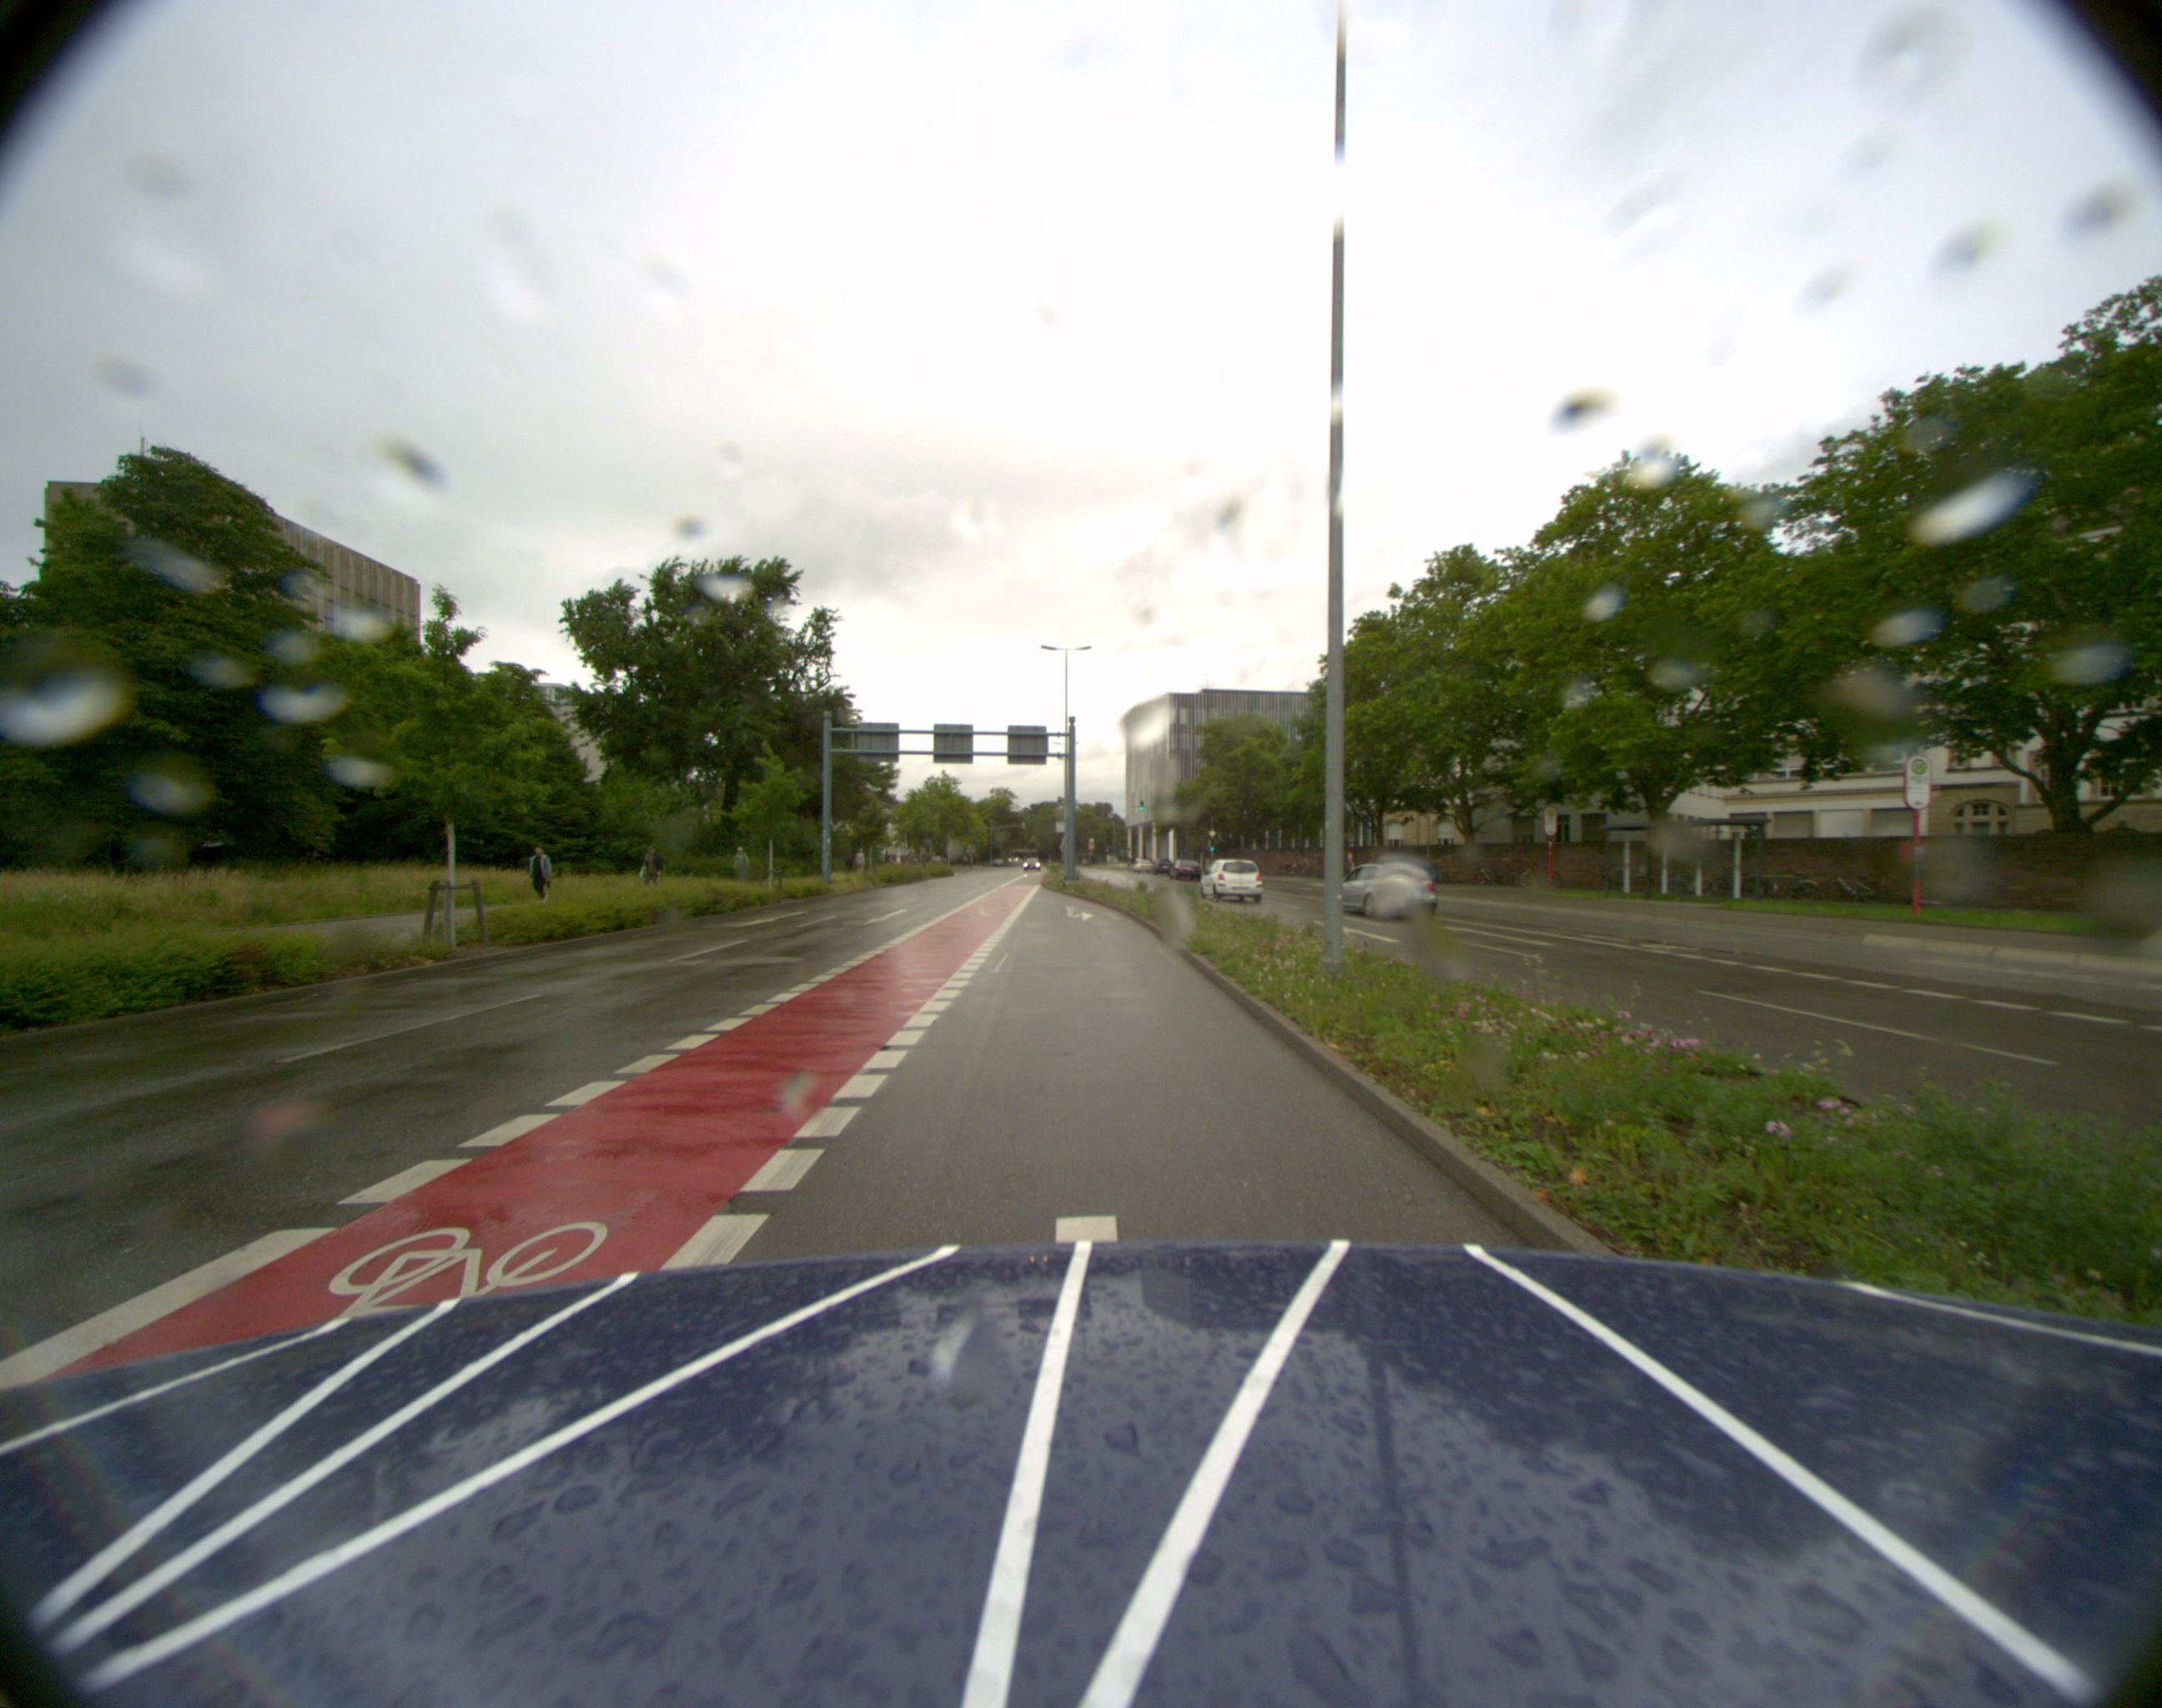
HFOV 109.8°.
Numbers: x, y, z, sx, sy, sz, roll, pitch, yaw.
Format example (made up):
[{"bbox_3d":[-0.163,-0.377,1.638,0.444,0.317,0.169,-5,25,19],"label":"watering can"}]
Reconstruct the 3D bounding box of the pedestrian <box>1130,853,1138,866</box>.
[{"bbox_3d":[7.256,0.758,103.724,0.788,1.813,0.794,0,0,-26],"label":"pedestrian"}]

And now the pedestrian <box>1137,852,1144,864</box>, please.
[{"bbox_3d":[8.781,0.569,111.487,0.788,1.813,0.623,0,0,-26],"label":"pedestrian"}]

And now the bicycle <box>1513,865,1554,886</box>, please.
[{"bbox_3d":[21.910,1.030,36.789,0.734,0.977,1.699,0,0,-13],"label":"bicycle"}]

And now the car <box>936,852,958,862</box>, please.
[{"bbox_3d":[-27.309,0.604,155.143,4.428,1.862,1.636,0,0,-10],"label":"car"}]

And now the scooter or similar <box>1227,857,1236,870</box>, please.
[{"bbox_3d":[14.356,0.935,72.662,0.392,1.191,1.141,-7,1,-7],"label":"scooter or similar"}]

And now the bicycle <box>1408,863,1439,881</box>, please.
[{"bbox_3d":[19.843,1.029,44.048,0.734,0.977,1.699,0,0,-13],"label":"bicycle"}]

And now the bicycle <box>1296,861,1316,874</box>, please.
[{"bbox_3d":[17.017,1.025,57.527,0.734,0.977,1.699,0,0,-13],"label":"bicycle"}]

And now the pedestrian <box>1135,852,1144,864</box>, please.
[{"bbox_3d":[8.632,0.558,112.375,0.941,1.813,0.922,0,0,-26],"label":"pedestrian"}]

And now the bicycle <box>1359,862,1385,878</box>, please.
[{"bbox_3d":[18.665,1.017,48.738,0.734,0.977,1.699,0,0,-13],"label":"bicycle"}]

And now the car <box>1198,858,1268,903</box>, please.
[{"bbox_3d":[5.420,0.898,27.537,1.683,1.493,3.868,1,0,-1],"label":"car"}]

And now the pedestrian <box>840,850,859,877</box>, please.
[{"bbox_3d":[-14.978,0.636,49.205,0.935,1.693,0.829,-1,-2,2],"label":"pedestrian"}]

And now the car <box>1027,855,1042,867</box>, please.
[{"bbox_3d":[-5.276,0.783,86.716,1.661,1.356,4.105,0,0,-4],"label":"car"}]

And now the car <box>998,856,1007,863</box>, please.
[{"bbox_3d":[-14.667,0.988,142.199,1.661,1.259,4.105,0,0,-4],"label":"car"}]

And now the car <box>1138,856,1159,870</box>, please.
[{"bbox_3d":[7.146,0.904,80.665,1.600,1.407,4.522,1,0,-4],"label":"car"}]

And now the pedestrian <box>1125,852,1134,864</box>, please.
[{"bbox_3d":[7.180,0.551,112.279,0.941,1.813,0.921,0,0,-33],"label":"pedestrian"}]

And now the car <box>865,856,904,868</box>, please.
[{"bbox_3d":[-23.573,0.921,91.291,4.389,1.330,1.771,0,3,-6],"label":"car"}]

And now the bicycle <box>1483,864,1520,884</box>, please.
[{"bbox_3d":[21.473,1.011,38.829,0.734,0.977,1.699,0,0,-13],"label":"bicycle"}]

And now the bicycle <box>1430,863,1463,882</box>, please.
[{"bbox_3d":[20.034,0.994,41.700,0.734,0.977,1.699,0,0,-13],"label":"bicycle"}]

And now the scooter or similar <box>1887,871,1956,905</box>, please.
[{"bbox_3d":[26.915,1.081,24.344,0.574,1.040,1.360,0,0,-18],"label":"scooter or similar"}]

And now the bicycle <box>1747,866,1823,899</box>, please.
[{"bbox_3d":[25.482,0.999,27.542,0.575,1.129,1.988,0,0,-18],"label":"bicycle"}]

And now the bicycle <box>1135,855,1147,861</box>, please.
[{"bbox_3d":[12.449,0.804,157.569,2.283,1.215,0.599,0,0,7],"label":"bicycle"}]

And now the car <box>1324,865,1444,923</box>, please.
[{"bbox_3d":[8.372,1.052,21.426,1.683,1.396,4.157,1,0,-1],"label":"car"}]

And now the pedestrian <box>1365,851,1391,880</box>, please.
[{"bbox_3d":[17.548,0.686,44.913,0.871,1.686,1.399,0,0,-8],"label":"pedestrian"}]

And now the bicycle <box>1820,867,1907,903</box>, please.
[{"bbox_3d":[26.413,1.024,25.703,0.575,1.129,1.988,0,0,-18],"label":"bicycle"}]

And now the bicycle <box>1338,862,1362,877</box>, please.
[{"bbox_3d":[18.233,1.020,51.468,0.734,0.977,1.699,0,0,-13],"label":"bicycle"}]

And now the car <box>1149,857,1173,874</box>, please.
[{"bbox_3d":[7.076,0.961,67.416,1.628,1.407,4.065,1,0,-2],"label":"car"}]

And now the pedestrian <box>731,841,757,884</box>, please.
[{"bbox_3d":[-15.747,0.384,35.539,0.792,2.002,0.829,0,0,4],"label":"pedestrian"}]

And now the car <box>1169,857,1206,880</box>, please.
[{"bbox_3d":[7.734,1.018,55.599,1.813,1.531,4.702,2,0,-2],"label":"car"}]

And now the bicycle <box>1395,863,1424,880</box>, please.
[{"bbox_3d":[19.622,1.030,45.383,0.734,0.977,1.699,0,0,-13],"label":"bicycle"}]

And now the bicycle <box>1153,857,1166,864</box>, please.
[{"bbox_3d":[14.118,1.111,135.992,2.287,1.215,0.598,0,0,-15],"label":"bicycle"}]

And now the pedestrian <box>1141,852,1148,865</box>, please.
[{"bbox_3d":[9.236,0.629,110.492,0.788,1.813,0.623,0,0,-26],"label":"pedestrian"}]

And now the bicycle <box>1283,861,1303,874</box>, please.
[{"bbox_3d":[16.493,1.026,59.181,0.734,0.977,1.699,0,0,-13],"label":"bicycle"}]

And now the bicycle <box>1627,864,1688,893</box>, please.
[{"bbox_3d":[23.936,1.000,31.599,0.575,1.129,1.987,0,0,-22],"label":"bicycle"}]

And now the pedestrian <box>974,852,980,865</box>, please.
[{"bbox_3d":[-14.452,0.598,105.957,0.625,1.813,0.785,0,0,-24],"label":"pedestrian"}]

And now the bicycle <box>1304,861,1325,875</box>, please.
[{"bbox_3d":[17.023,1.021,55.345,0.733,0.977,1.863,0,0,-9],"label":"bicycle"}]

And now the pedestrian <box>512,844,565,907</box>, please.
[{"bbox_3d":[-15.711,0.600,22.009,0.935,1.786,0.829,0,0,4],"label":"pedestrian"}]

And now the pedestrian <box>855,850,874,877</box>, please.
[{"bbox_3d":[-13.920,0.621,48.936,0.935,1.710,0.829,-1,-2,2],"label":"pedestrian"}]

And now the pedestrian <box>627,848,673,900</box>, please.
[{"bbox_3d":[-14.664,0.665,25.904,0.935,1.737,1.046,0,0,4],"label":"pedestrian"}]

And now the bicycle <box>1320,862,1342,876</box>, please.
[{"bbox_3d":[17.595,1.062,53.542,0.734,0.977,1.699,0,0,-13],"label":"bicycle"}]

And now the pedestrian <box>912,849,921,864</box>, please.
[{"bbox_3d":[-18.295,0.288,84.427,0.878,1.597,0.862,0,0,-24],"label":"pedestrian"}]

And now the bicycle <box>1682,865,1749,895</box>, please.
[{"bbox_3d":[24.762,1.000,29.699,0.575,1.129,1.988,0,0,-18],"label":"bicycle"}]

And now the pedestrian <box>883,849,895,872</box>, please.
[{"bbox_3d":[-15.831,0.549,62.580,0.731,1.848,0.851,0,0,4],"label":"pedestrian"}]

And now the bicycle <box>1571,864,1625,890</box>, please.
[{"bbox_3d":[23.002,0.999,33.825,0.575,1.129,1.987,0,0,-22],"label":"bicycle"}]

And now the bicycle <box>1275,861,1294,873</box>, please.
[{"bbox_3d":[16.385,1.029,61.202,0.734,0.977,1.699,0,0,-13],"label":"bicycle"}]

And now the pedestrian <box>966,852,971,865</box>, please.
[{"bbox_3d":[-15.575,0.598,105.185,0.625,1.813,0.786,0,0,-17],"label":"pedestrian"}]

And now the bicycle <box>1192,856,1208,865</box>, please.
[{"bbox_3d":[16.868,0.882,107.591,2.287,1.215,0.598,0,0,-15],"label":"bicycle"}]
